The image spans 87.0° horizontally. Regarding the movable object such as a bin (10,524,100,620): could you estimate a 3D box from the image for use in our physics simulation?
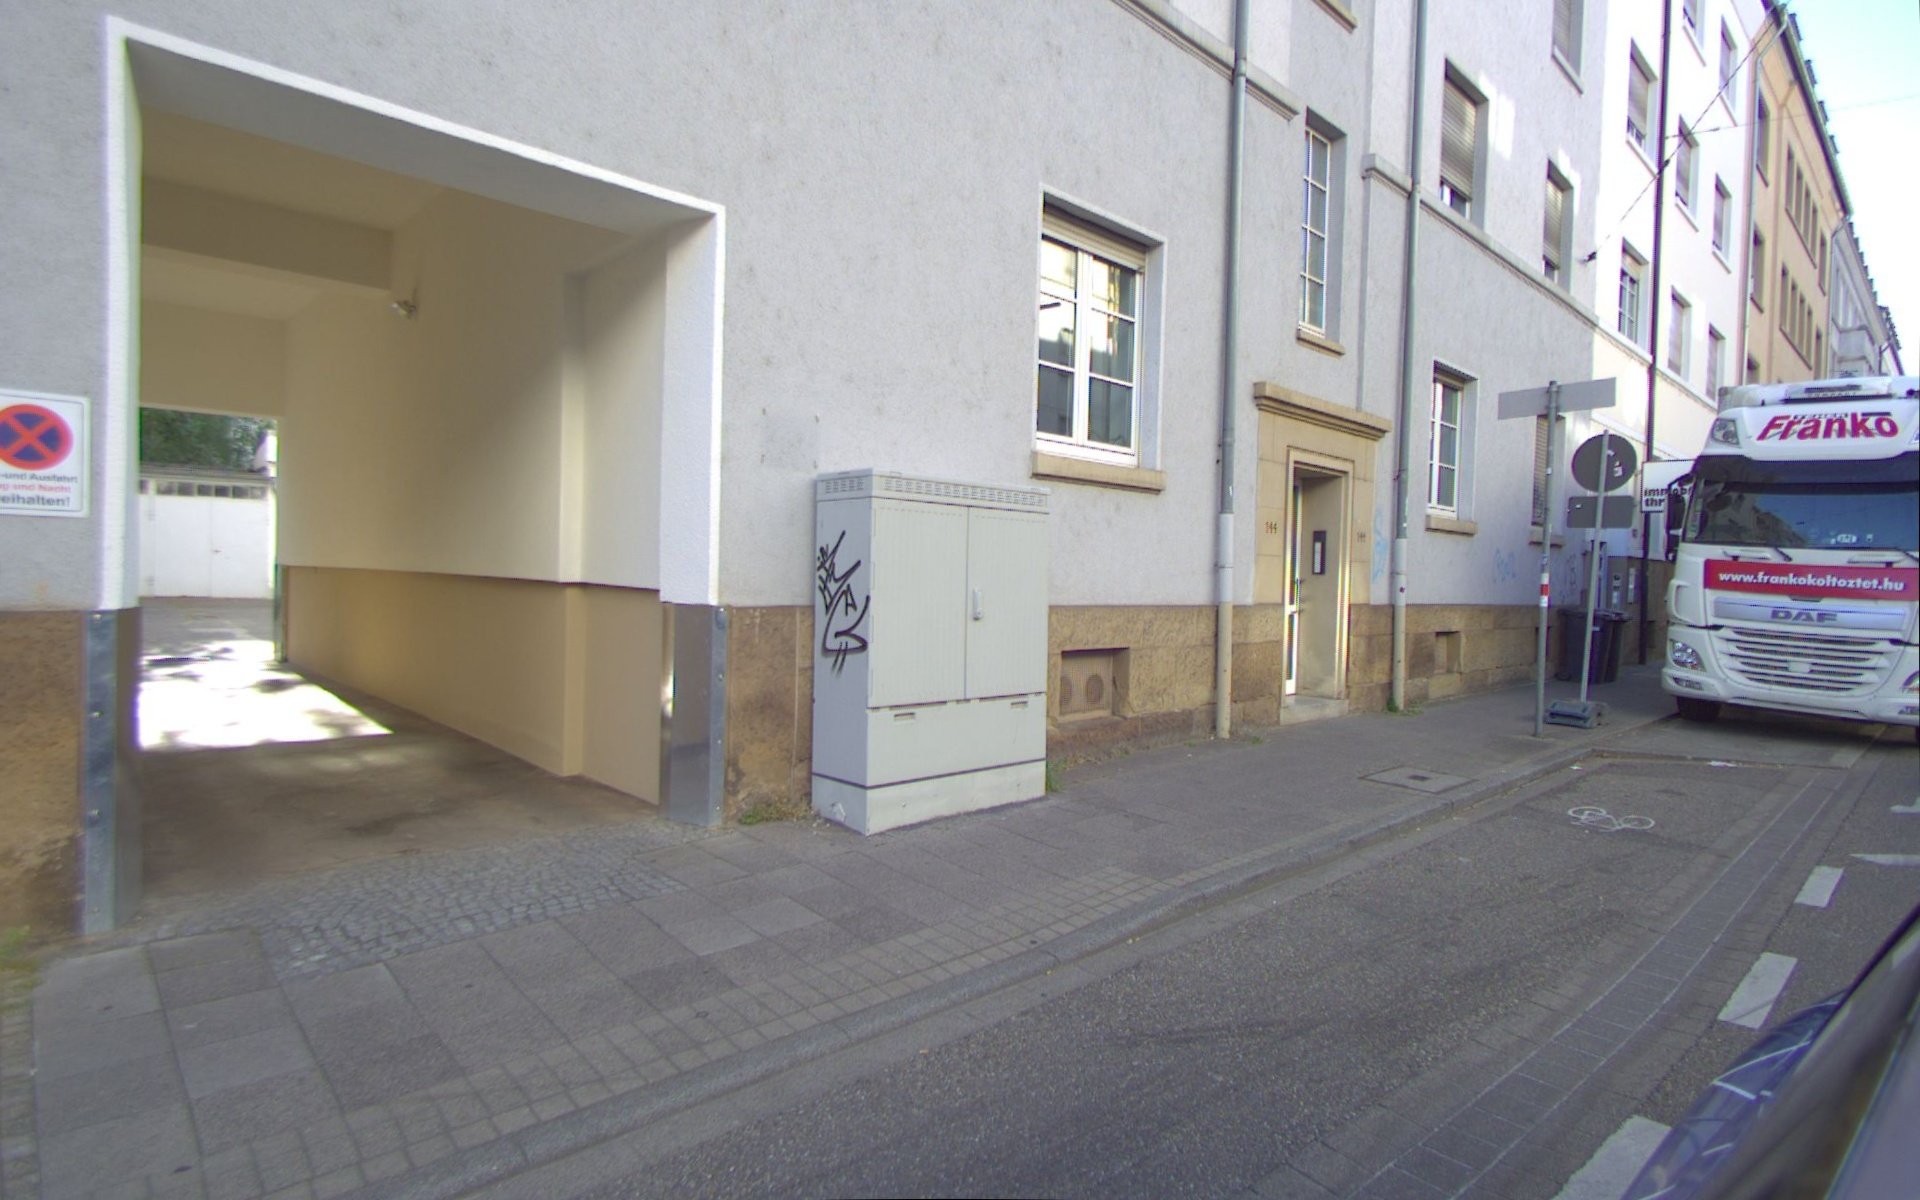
[{"bbox_3d":[-15.100,-0.451,16.919,1.091,1.512,1.328,0,0,-41],"label":"movable object such as a bin"}]

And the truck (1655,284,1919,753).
[{"bbox_3d":[12.591,-0.870,13.694,11.579,4.290,2.697,-1,3,-43],"label":"truck"}]
